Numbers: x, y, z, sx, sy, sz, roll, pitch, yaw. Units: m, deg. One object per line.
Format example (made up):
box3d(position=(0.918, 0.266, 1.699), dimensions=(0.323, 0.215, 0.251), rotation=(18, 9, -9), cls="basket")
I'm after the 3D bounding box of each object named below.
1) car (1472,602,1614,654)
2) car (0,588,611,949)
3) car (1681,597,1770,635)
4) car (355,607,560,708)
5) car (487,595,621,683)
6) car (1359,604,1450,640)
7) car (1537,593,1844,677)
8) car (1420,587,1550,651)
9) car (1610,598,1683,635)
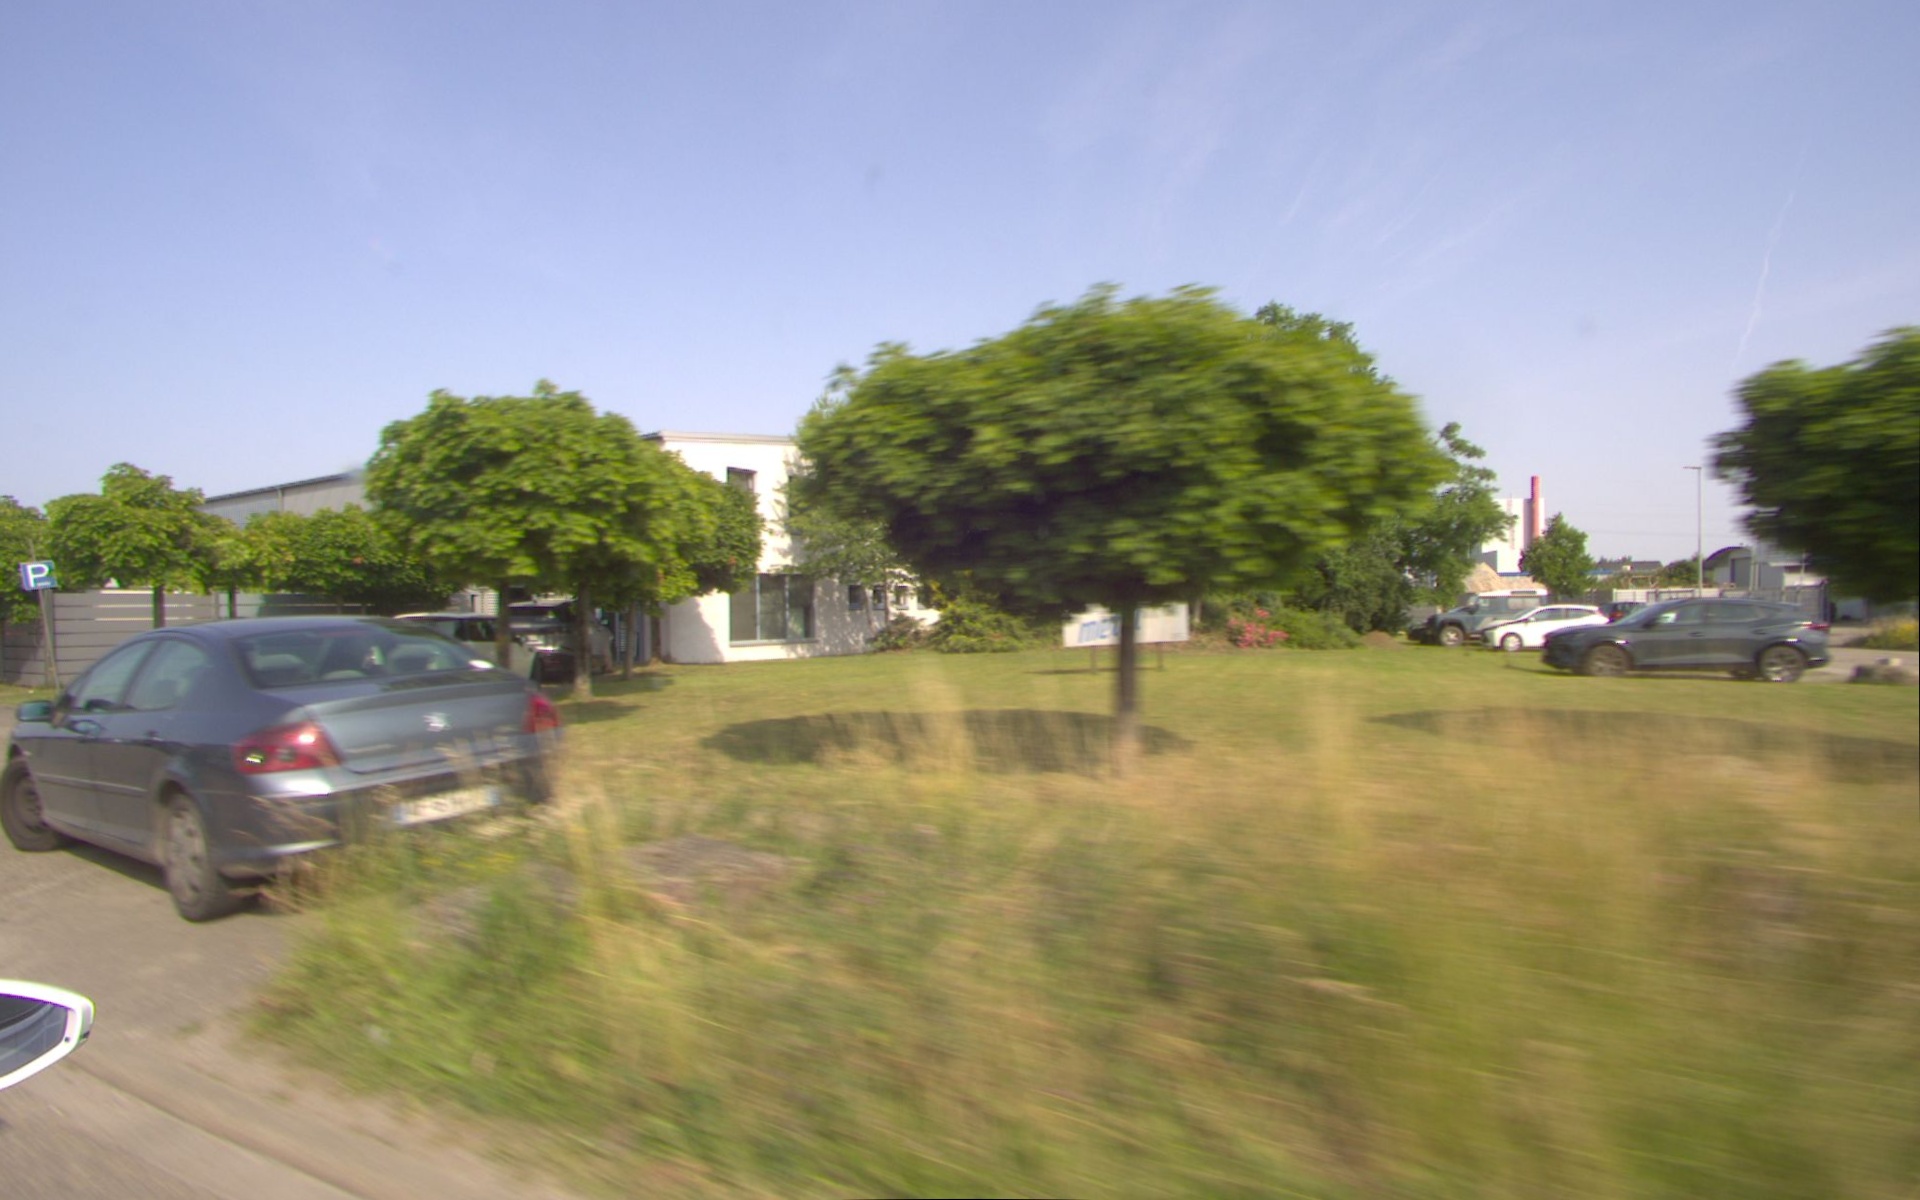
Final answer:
box3d(position=(17.847, 0.854, 30.811), dimensions=(3.455, 1.469, 1.560), rotation=(-2, 0, 16), cls="car")
box3d(position=(-4.308, 0.747, 6.229), dimensions=(4.363, 1.537, 1.789), rotation=(-1, 0, 34), cls="car")
box3d(position=(32.380, 0.659, 42.477), dimensions=(1.801, 1.542, 3.583), rotation=(-1, 0, 16), cls="car")
box3d(position=(-7.833, 0.822, 15.998), dimensions=(1.655, 1.398, 3.697), rotation=(-1, 0, -5), cls="car")
box3d(position=(-8.362, 0.744, 21.019), dimensions=(1.656, 1.610, 4.530), rotation=(-1, 0, -10), cls="car")
box3d(position=(18.426, 0.924, 41.668), dimensions=(3.258, 1.428, 1.560), rotation=(-1, 0, 16), cls="car")
box3d(position=(13.336, 0.630, 18.622), dimensions=(4.272, 1.428, 1.783), rotation=(-1, 0, 21), cls="car")
box3d(position=(18.116, 0.625, 34.720), dimensions=(3.639, 1.983, 1.683), rotation=(3, 2, 16), cls="car")
box3d(position=(33.749, 0.818, 49.374), dimensions=(1.965, 1.751, 3.992), rotation=(-1, 0, 19), cls="car")
